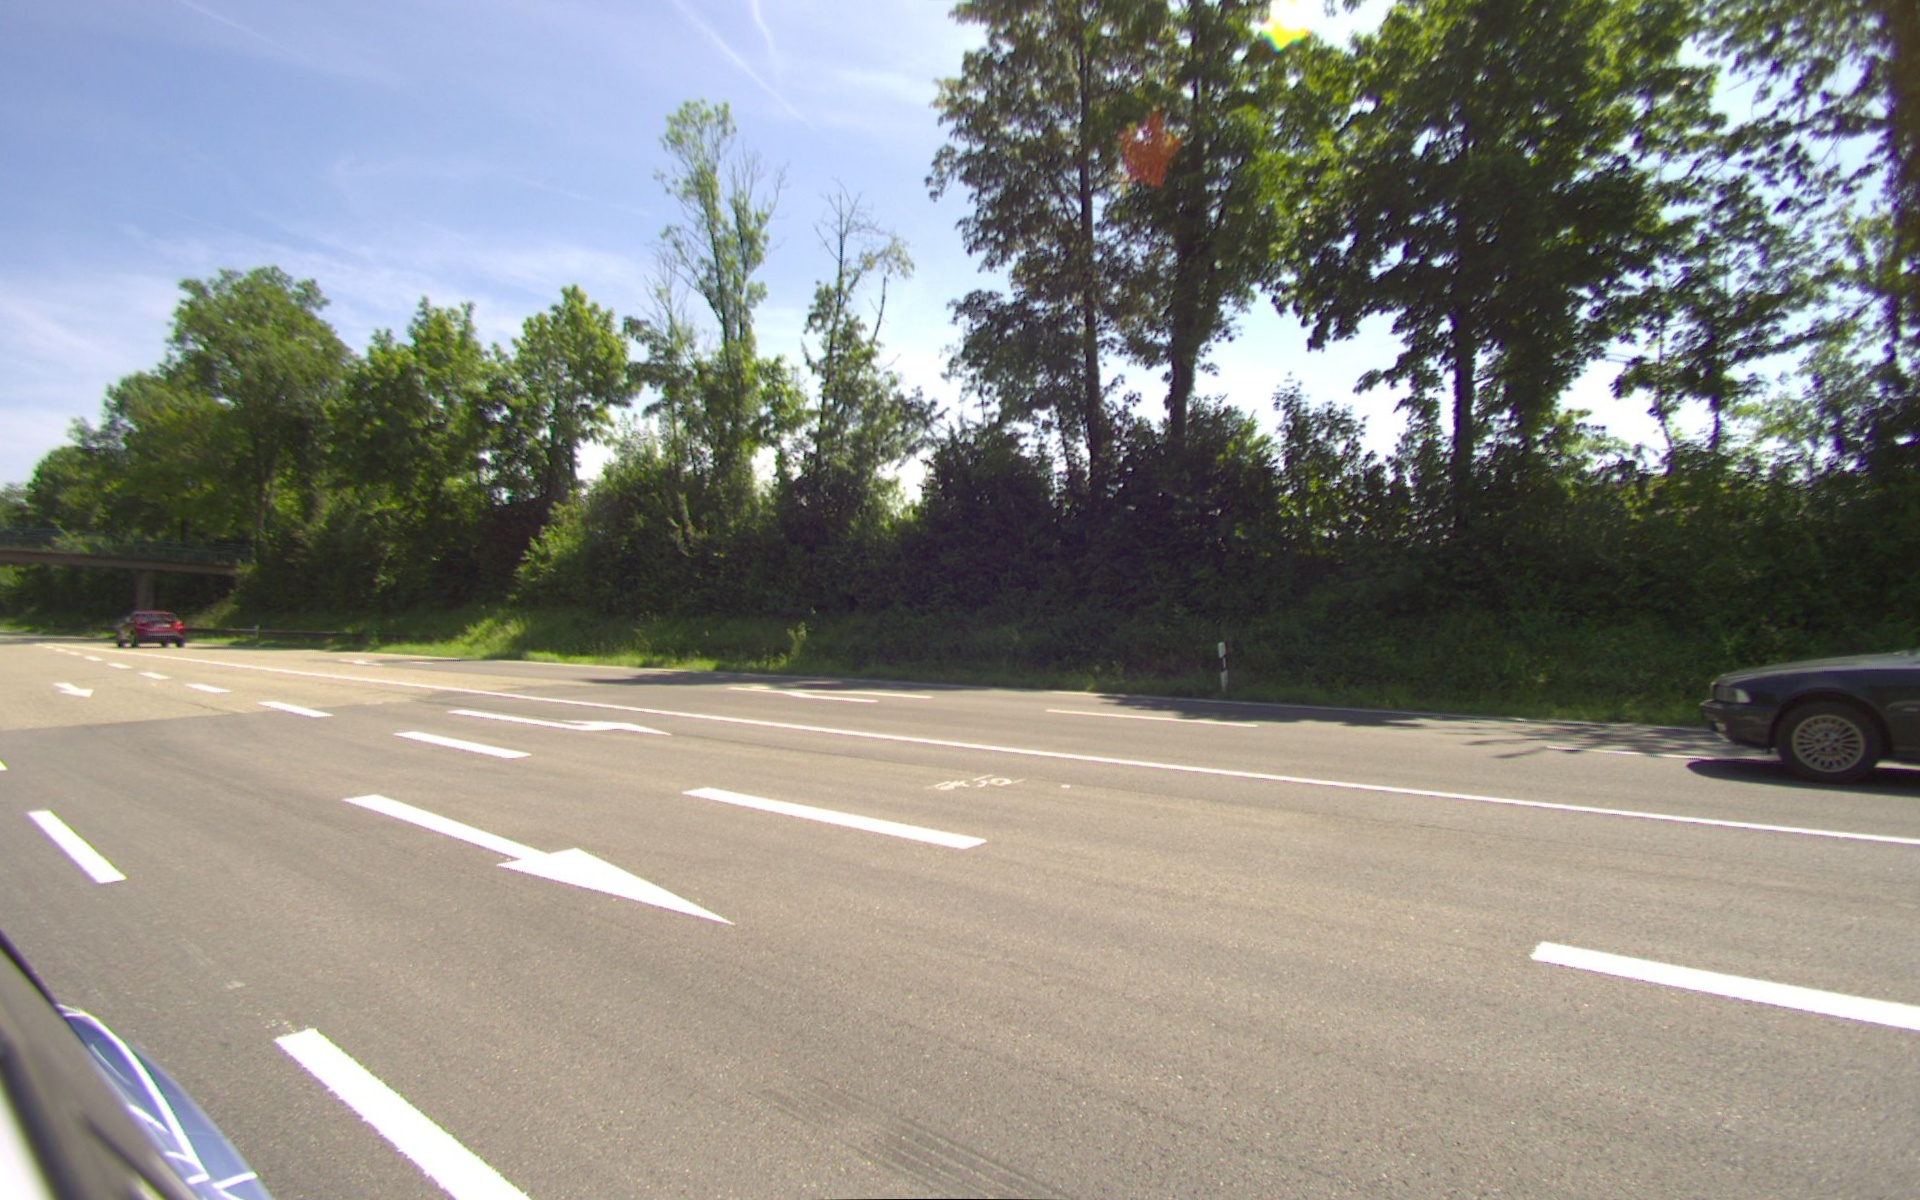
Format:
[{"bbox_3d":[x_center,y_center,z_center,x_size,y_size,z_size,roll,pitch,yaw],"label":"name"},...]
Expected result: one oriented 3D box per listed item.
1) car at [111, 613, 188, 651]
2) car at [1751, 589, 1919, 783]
[{"bbox_3d":[-34.679,1.354,43.277,3.761,1.520,1.884,-1,-1,40],"label":"car"},{"bbox_3d":[8.304,0.616,7.352,3.996,1.397,1.749,0,1,40],"label":"car"}]
